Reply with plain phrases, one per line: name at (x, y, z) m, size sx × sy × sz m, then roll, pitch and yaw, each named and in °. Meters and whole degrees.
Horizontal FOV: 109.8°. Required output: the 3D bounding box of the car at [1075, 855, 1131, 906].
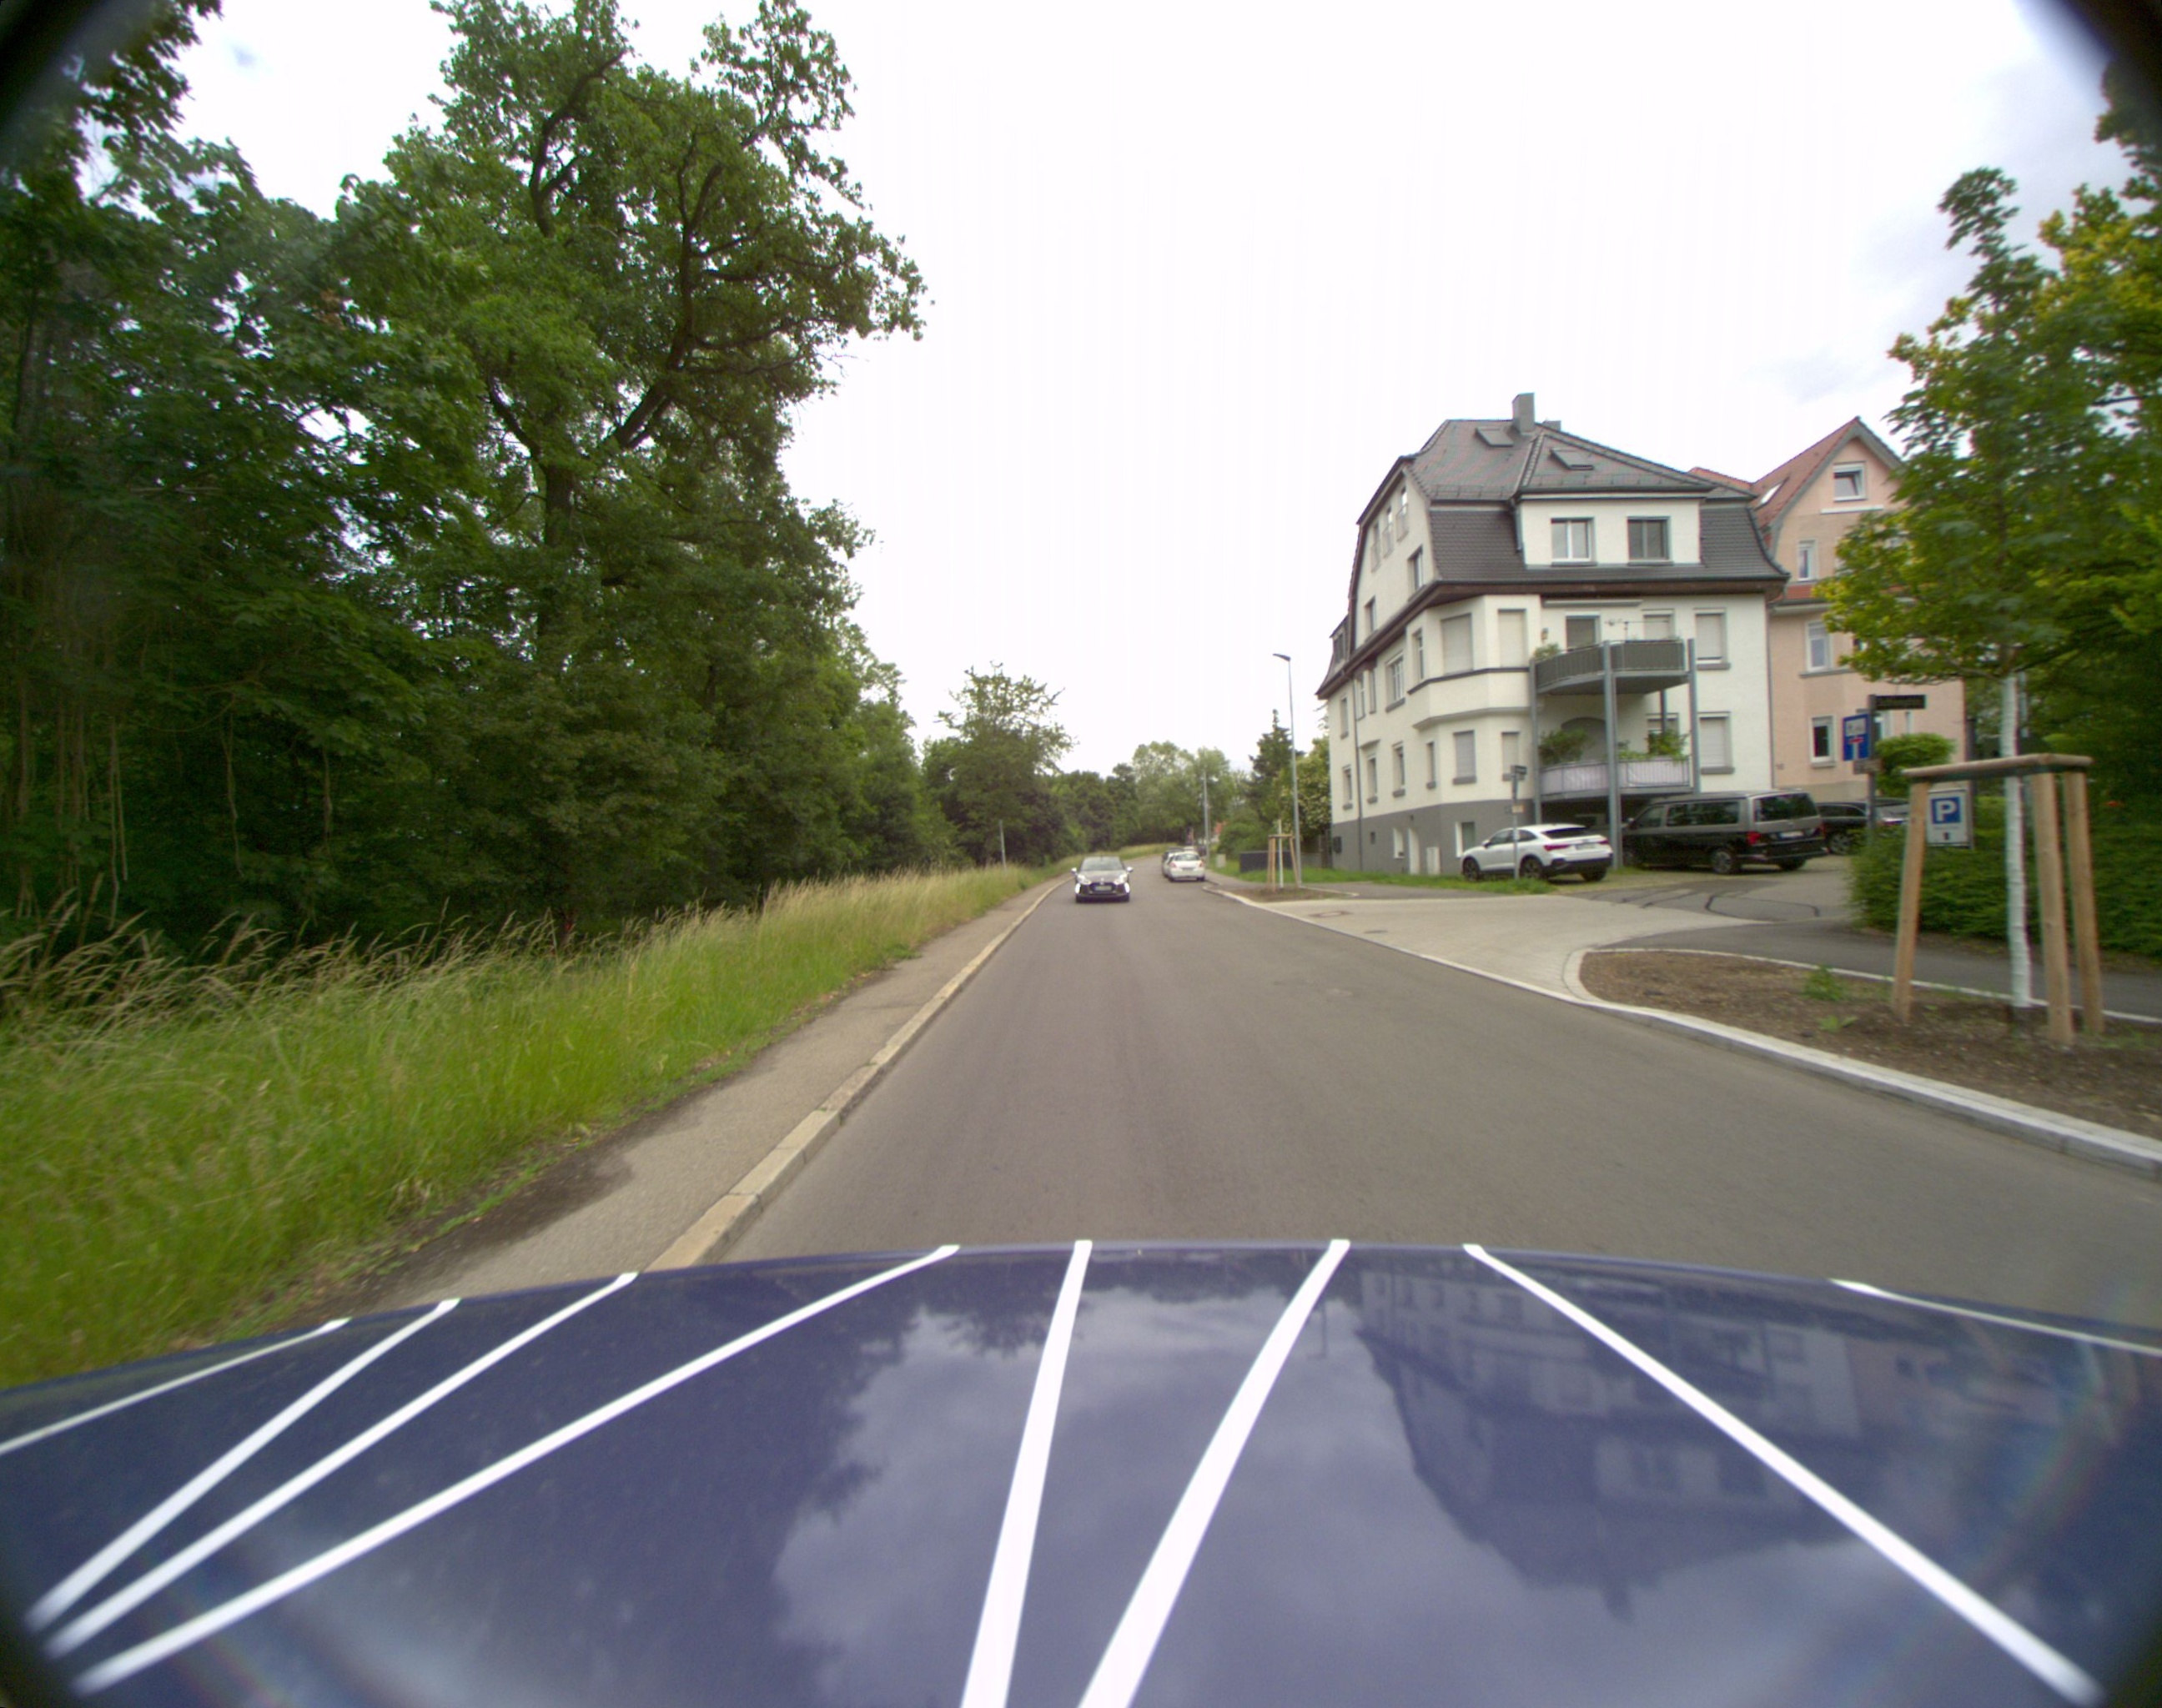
car at (0.756, 0.777, 23.957) m, size 1.619 × 1.460 × 4.001 m, roll 0°, pitch 0°, yaw 4°

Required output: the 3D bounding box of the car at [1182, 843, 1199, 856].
car at (13.018, -0.526, 90.570) m, size 1.735 × 1.420 × 3.460 m, roll -1°, pitch 1°, yaw 12°

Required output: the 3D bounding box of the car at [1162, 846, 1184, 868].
car at (7.163, 0.175, 59.058) m, size 1.665 × 1.573 × 4.079 m, roll -1°, pitch 1°, yaw 7°

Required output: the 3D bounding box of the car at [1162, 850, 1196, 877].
car at (5.766, 0.526, 44.945) m, size 1.728 × 1.382 × 4.726 m, roll -1°, pitch 1°, yaw 4°

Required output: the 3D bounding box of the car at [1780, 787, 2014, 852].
car at (22.449, -0.908, 21.200) m, size 1.685 × 1.490 × 4.319 m, roll -5°, pitch 2°, yaw -4°

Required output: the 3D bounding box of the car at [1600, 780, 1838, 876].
car at (16.267, -0.652, 19.786) m, size 1.911 × 2.039 × 4.761 m, roll -5°, pitch 2°, yaw -4°

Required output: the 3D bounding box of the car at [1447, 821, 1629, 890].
car at (12.285, -0.013, 20.860) m, size 1.911 × 1.524 × 4.594 m, roll -5°, pitch 2°, yaw -4°

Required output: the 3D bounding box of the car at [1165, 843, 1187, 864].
car at (8.440, -0.086, 67.340) m, size 1.799 × 1.790 × 4.066 m, roll -1°, pitch 1°, yaw 8°

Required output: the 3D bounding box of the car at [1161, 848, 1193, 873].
car at (6.296, 0.397, 50.230) m, size 1.730 × 1.564 × 4.816 m, roll 0°, pitch 0°, yaw 3°

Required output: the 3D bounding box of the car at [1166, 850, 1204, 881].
car at (5.308, 0.569, 39.181) m, size 1.646 × 1.461 × 4.071 m, roll -1°, pitch 1°, yaw 3°
